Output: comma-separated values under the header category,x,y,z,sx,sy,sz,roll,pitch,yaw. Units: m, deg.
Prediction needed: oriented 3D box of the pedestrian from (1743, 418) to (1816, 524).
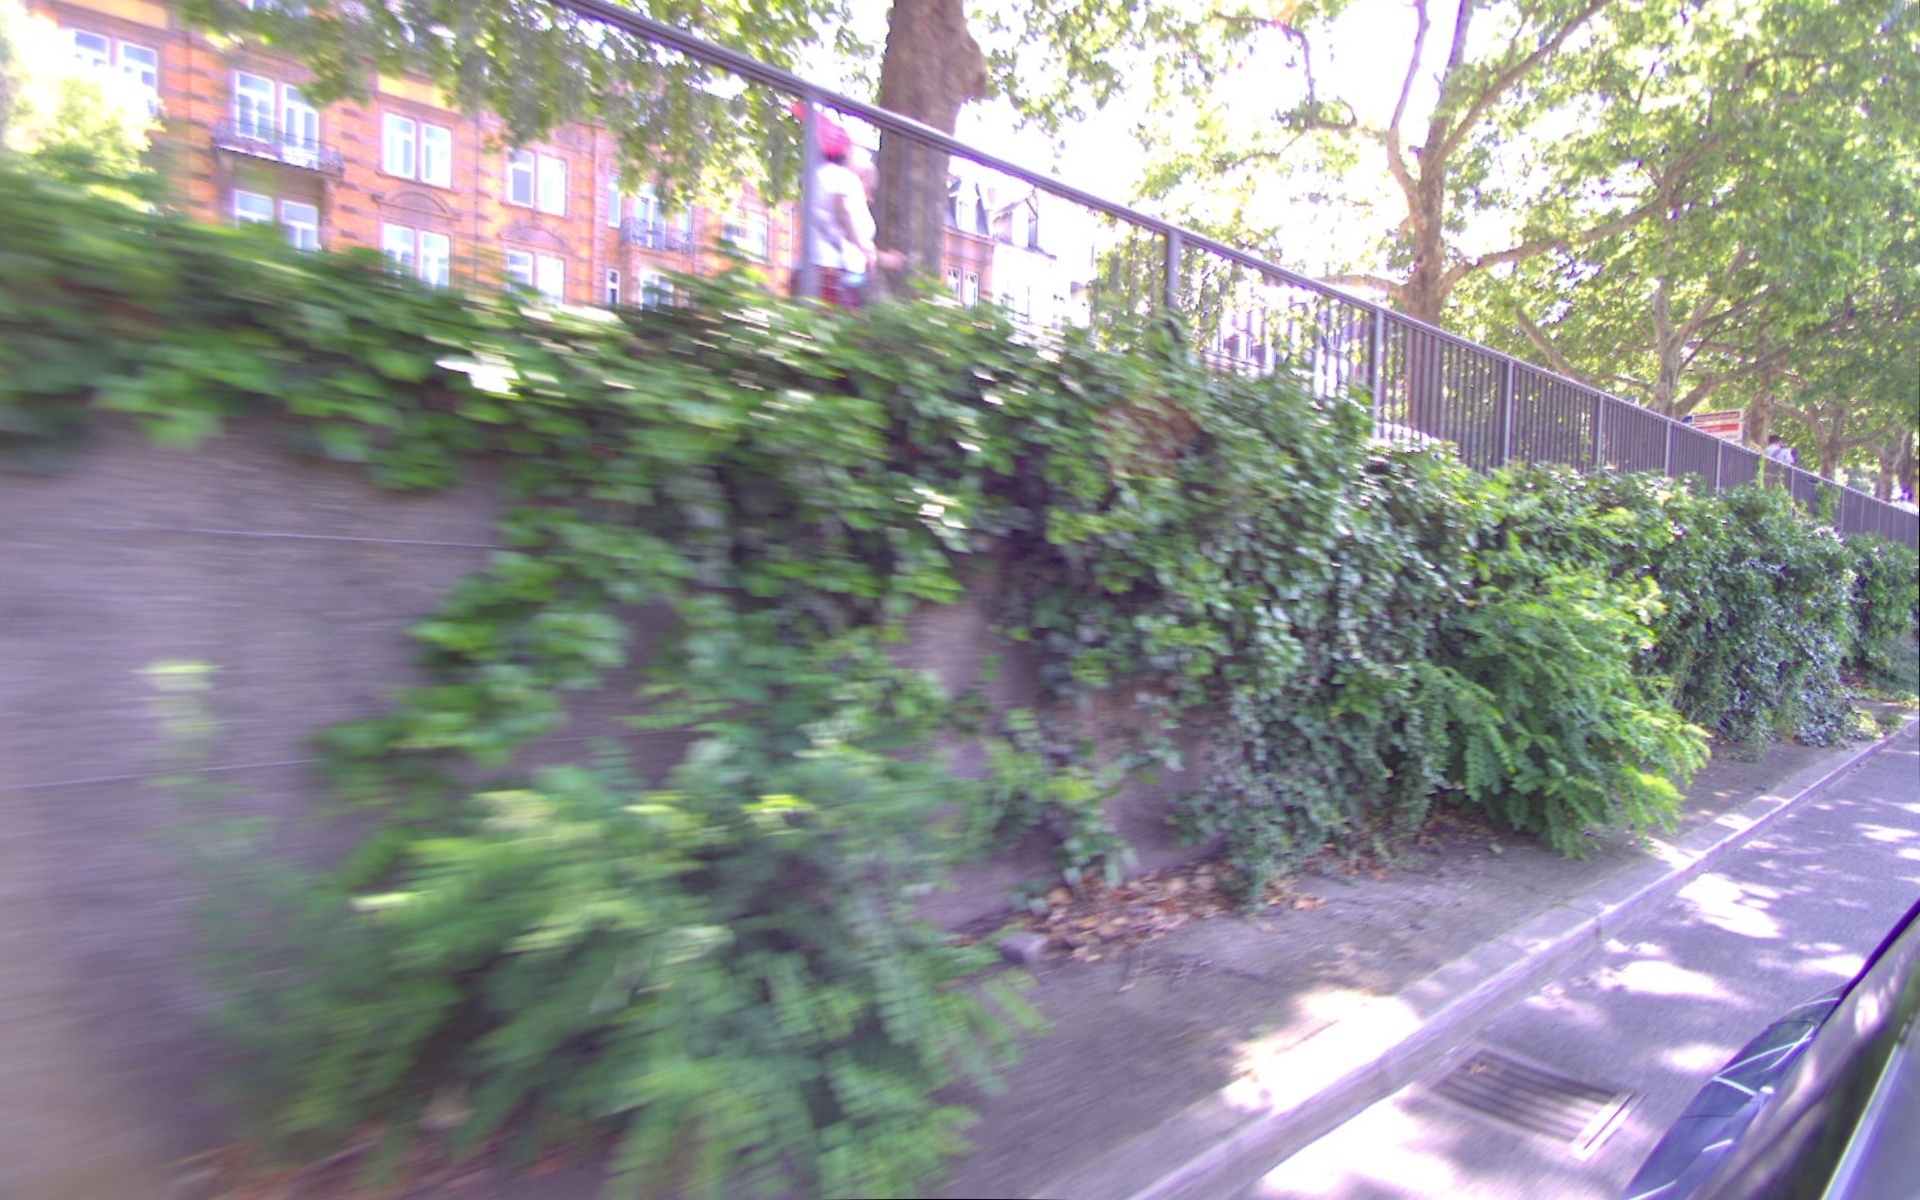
category,x,y,z,sx,sy,sz,roll,pitch,yaw
pedestrian,13.310,-2.063,16.437,0.796,1.611,0.738,0,2,-41

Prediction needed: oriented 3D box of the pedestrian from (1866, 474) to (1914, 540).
category,x,y,z,sx,sy,sz,roll,pitch,yaw
pedestrian,23.275,-2.309,25.331,0.796,1.611,0.738,0,2,-41

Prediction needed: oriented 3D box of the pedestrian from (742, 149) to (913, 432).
category,x,y,z,sx,sy,sz,roll,pitch,yaw
pedestrian,-0.708,-1.590,5.407,0.679,1.259,0.577,0,2,-41

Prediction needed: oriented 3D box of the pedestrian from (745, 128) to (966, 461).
category,x,y,z,sx,sy,sz,roll,pitch,yaw
pedestrian,-0.490,-1.328,4.690,0.729,1.259,0.712,0,2,-41

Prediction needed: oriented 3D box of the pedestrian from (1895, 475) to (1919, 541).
category,x,y,z,sx,sy,sz,roll,pitch,yaw
pedestrian,24.221,-2.316,25.628,0.751,1.611,0.666,0,2,-41

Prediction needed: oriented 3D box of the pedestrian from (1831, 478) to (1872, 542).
category,x,y,z,sx,sy,sz,roll,pitch,yaw
pedestrian,23.208,-2.321,26.351,0.639,1.611,0.666,0,2,-41
